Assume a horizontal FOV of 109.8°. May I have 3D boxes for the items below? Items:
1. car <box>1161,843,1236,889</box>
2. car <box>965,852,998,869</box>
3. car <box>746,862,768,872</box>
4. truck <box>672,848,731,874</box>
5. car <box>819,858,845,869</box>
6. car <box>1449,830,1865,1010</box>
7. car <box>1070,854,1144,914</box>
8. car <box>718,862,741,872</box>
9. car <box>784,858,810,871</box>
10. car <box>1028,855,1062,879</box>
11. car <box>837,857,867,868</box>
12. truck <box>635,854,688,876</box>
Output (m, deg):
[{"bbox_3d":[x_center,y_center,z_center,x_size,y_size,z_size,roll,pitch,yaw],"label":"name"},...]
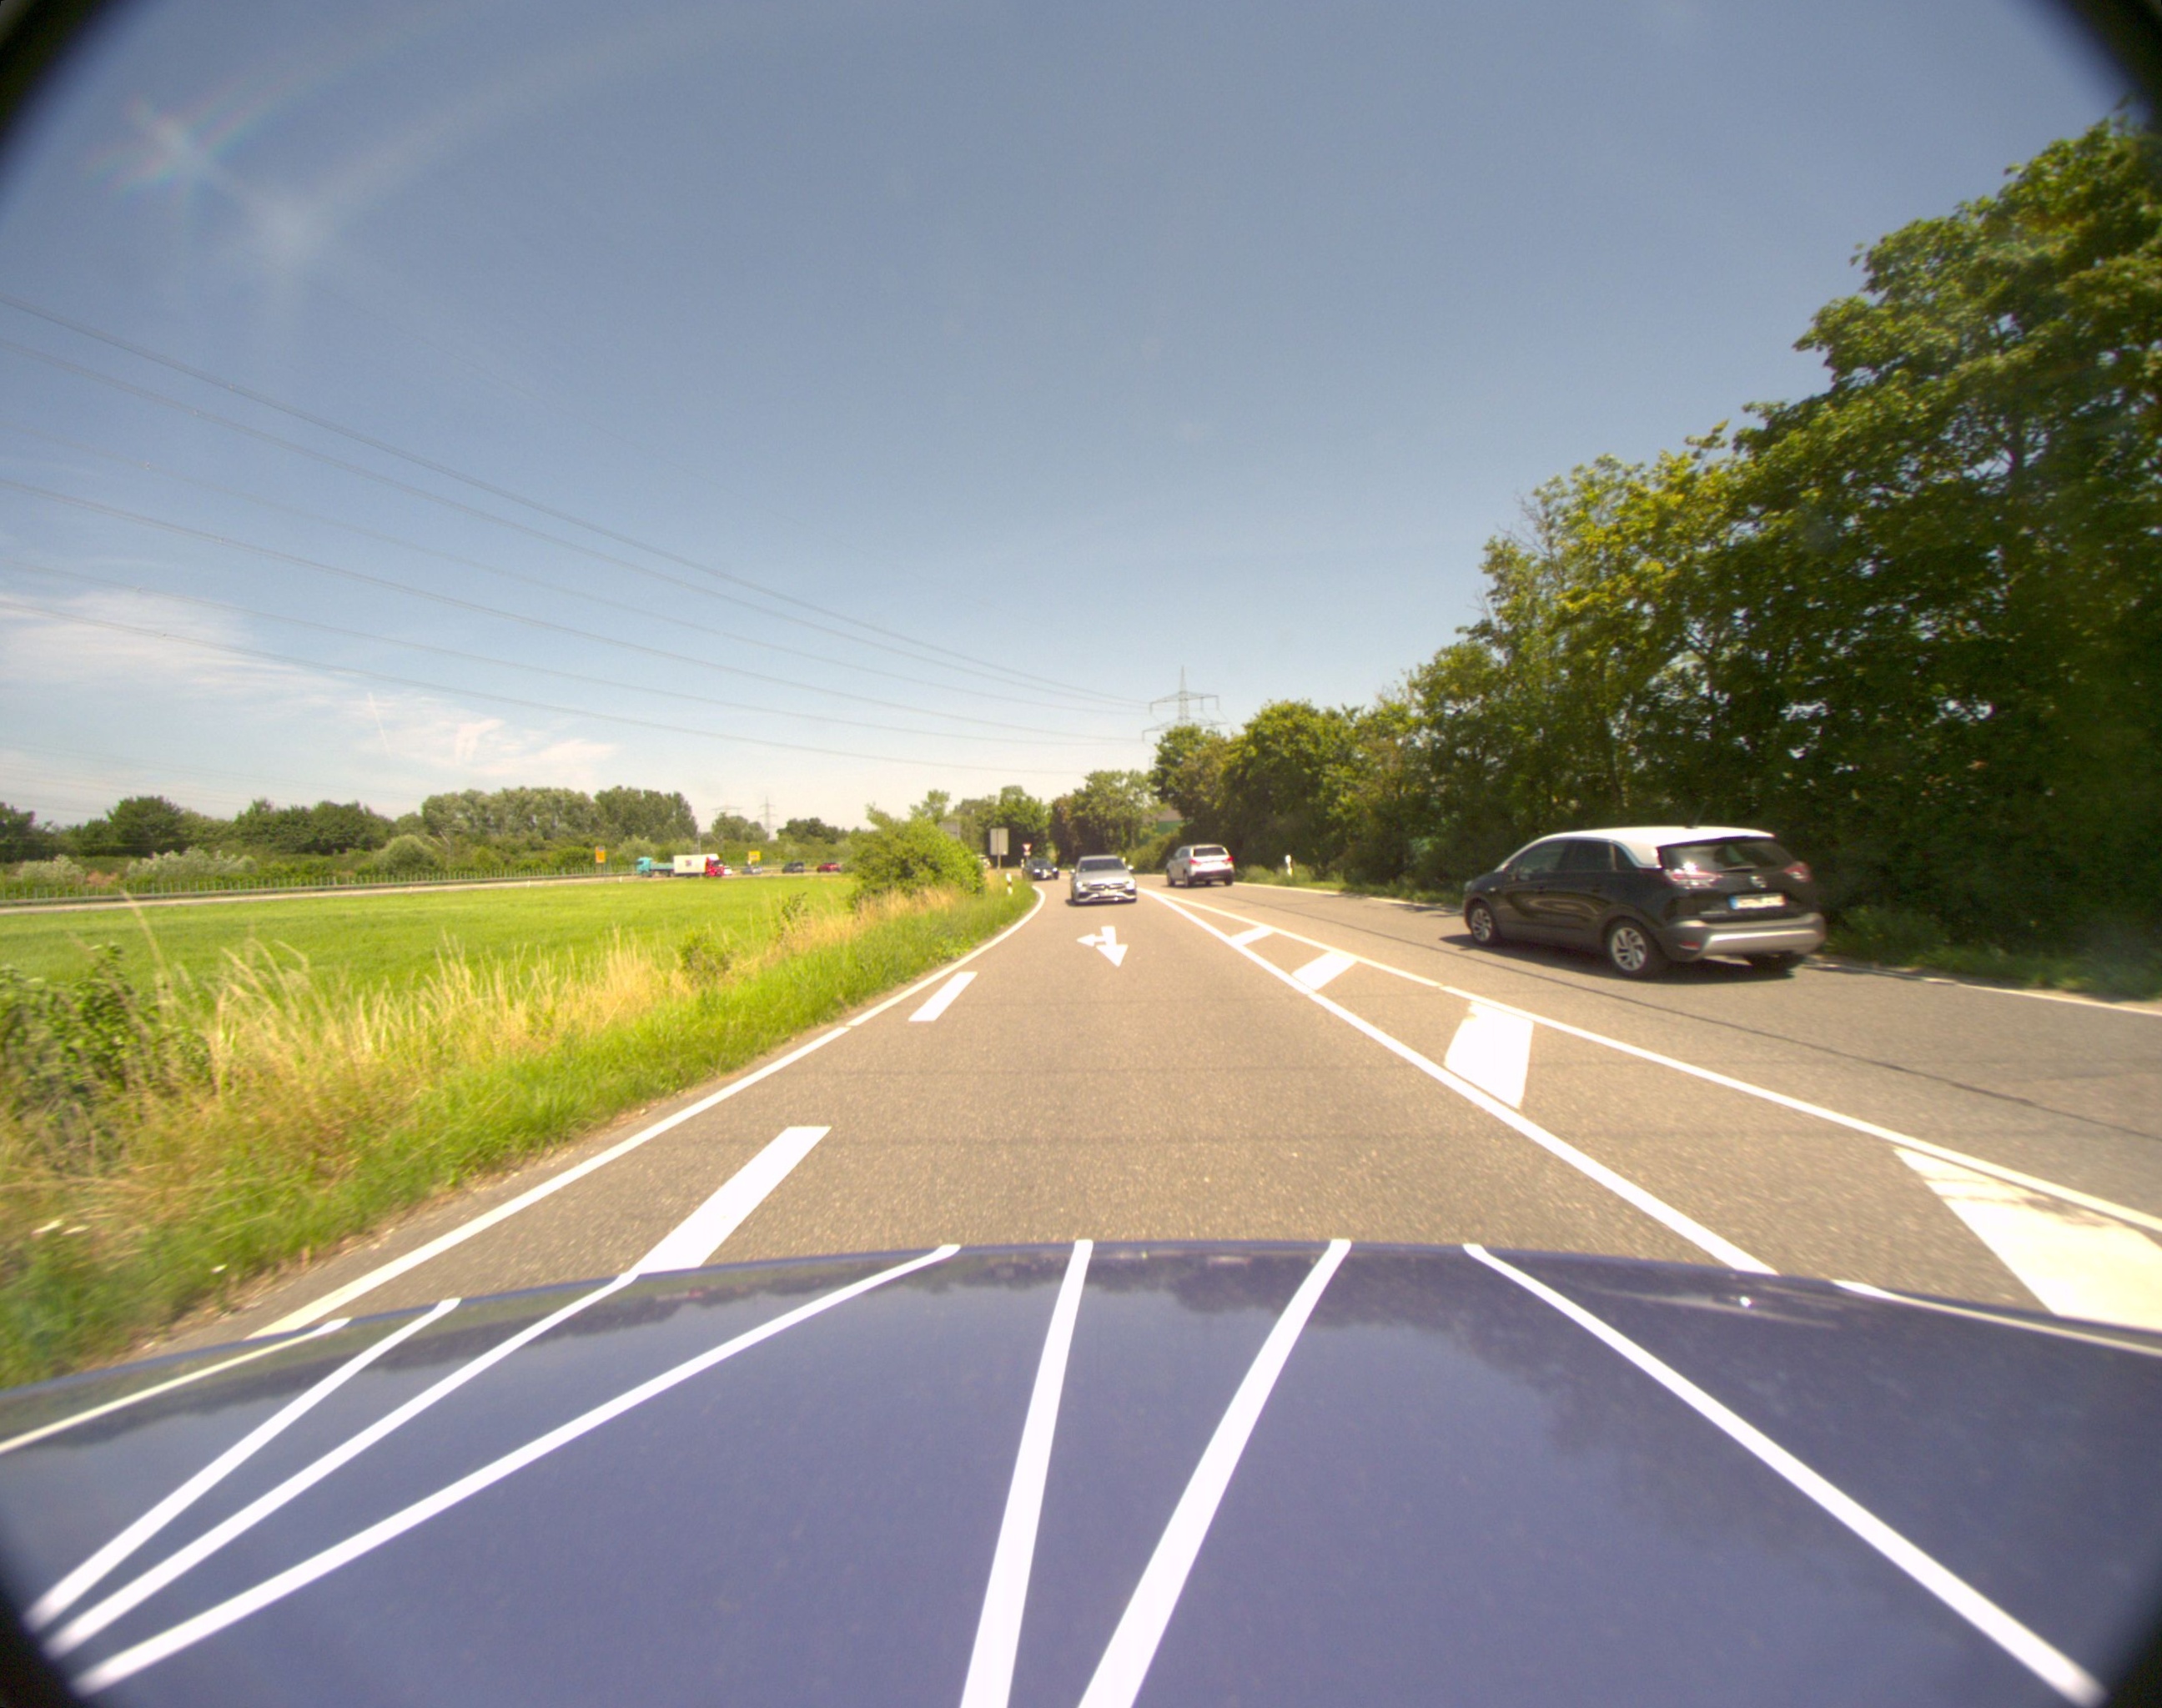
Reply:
[{"bbox_3d":[4.482,0.425,29.632,1.746,1.580,3.997,-4,1,-8],"label":"car"},{"bbox_3d":[-10.746,0.721,81.830,1.863,1.592,4.767,-5,1,-28],"label":"car"},{"bbox_3d":[-53.832,2.151,126.295,3.997,1.451,1.640,-2,1,39],"label":"car"},{"bbox_3d":[-58.901,1.090,117.909,9.531,3.560,2.729,-2,3,26],"label":"truck"},{"bbox_3d":[-36.927,1.420,112.709,4.379,1.507,1.808,-1,2,44],"label":"car"},{"bbox_3d":[6.294,0.586,8.990,1.737,1.581,3.956,-3,1,-3],"label":"car"},{"bbox_3d":[0.667,0.810,22.508,1.824,1.478,4.148,-4,0,-2],"label":"car"},{"bbox_3d":[-61.342,2.319,132.718,4.318,1.612,1.781,-2,3,39],"label":"car"},{"bbox_3d":[-44.617,1.641,119.376,4.426,1.822,1.936,-1,2,42],"label":"car"},{"bbox_3d":[-2.418,0.820,50.107,1.825,1.431,4.145,-2,1,-8],"label":"car"},{"bbox_3d":[-32.573,1.198,108.102,4.795,1.452,1.850,-1,3,44],"label":"car"},{"bbox_3d":[-72.915,1.830,132.089,7.606,3.451,2.609,-2,1,-3],"label":"truck"}]
